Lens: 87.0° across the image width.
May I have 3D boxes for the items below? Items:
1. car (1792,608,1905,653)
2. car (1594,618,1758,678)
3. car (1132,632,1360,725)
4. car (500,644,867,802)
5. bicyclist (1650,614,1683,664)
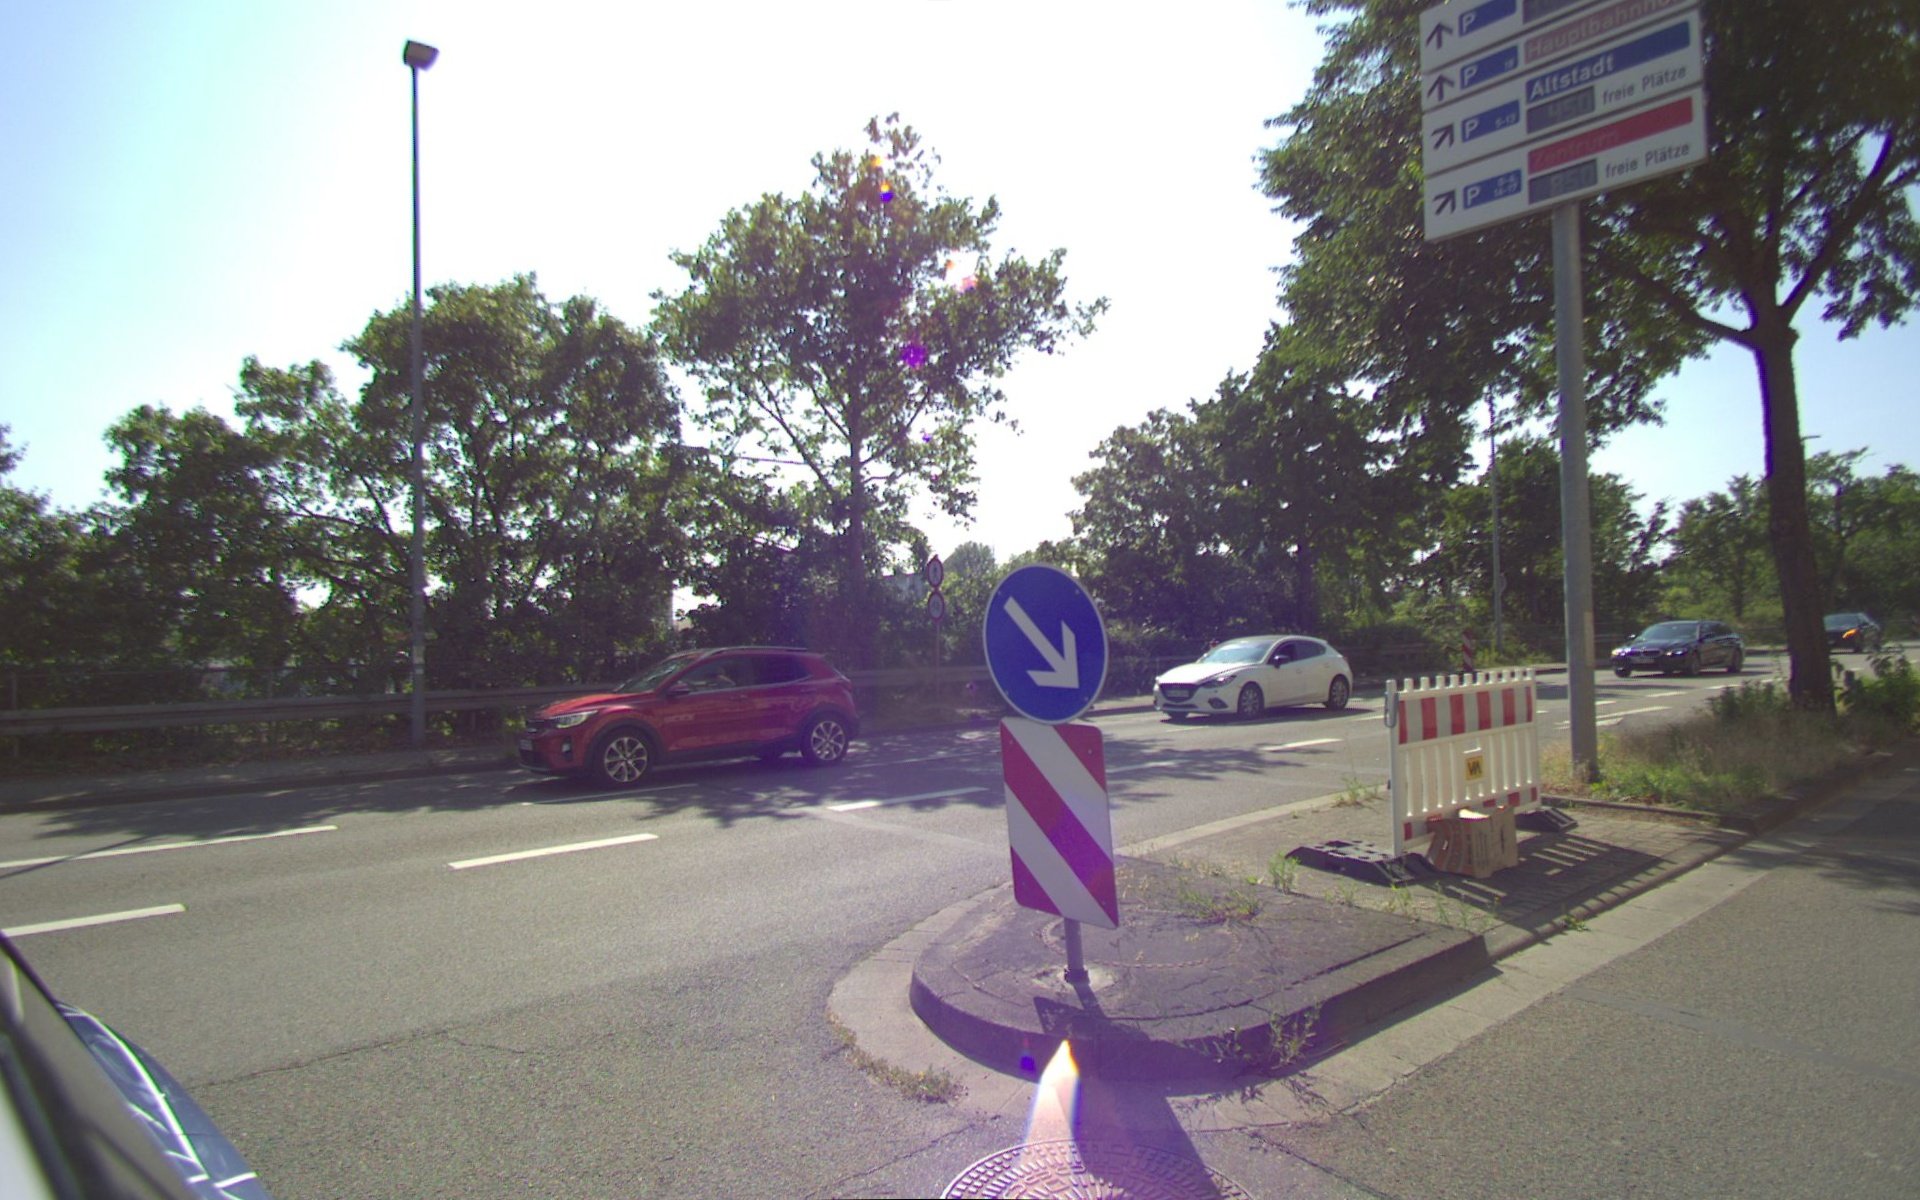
[{"bbox_3d":[34.168,1.164,38.906,4.619,1.540,2.005,0,-4,-33],"label":"car"},{"bbox_3d":[19.072,1.258,26.899,4.538,1.422,2.005,0,-4,-34],"label":"car"},{"bbox_3d":[5.333,1.393,18.701,4.135,1.464,1.874,0,-4,-37],"label":"car"},{"bbox_3d":[-3.272,1.356,12.282,3.900,1.531,1.806,0,-3,-38],"label":"car"},{"bbox_3d":[22.351,1.229,32.020,0.766,1.545,0.576,0,-3,-35],"label":"bicyclist"}]
